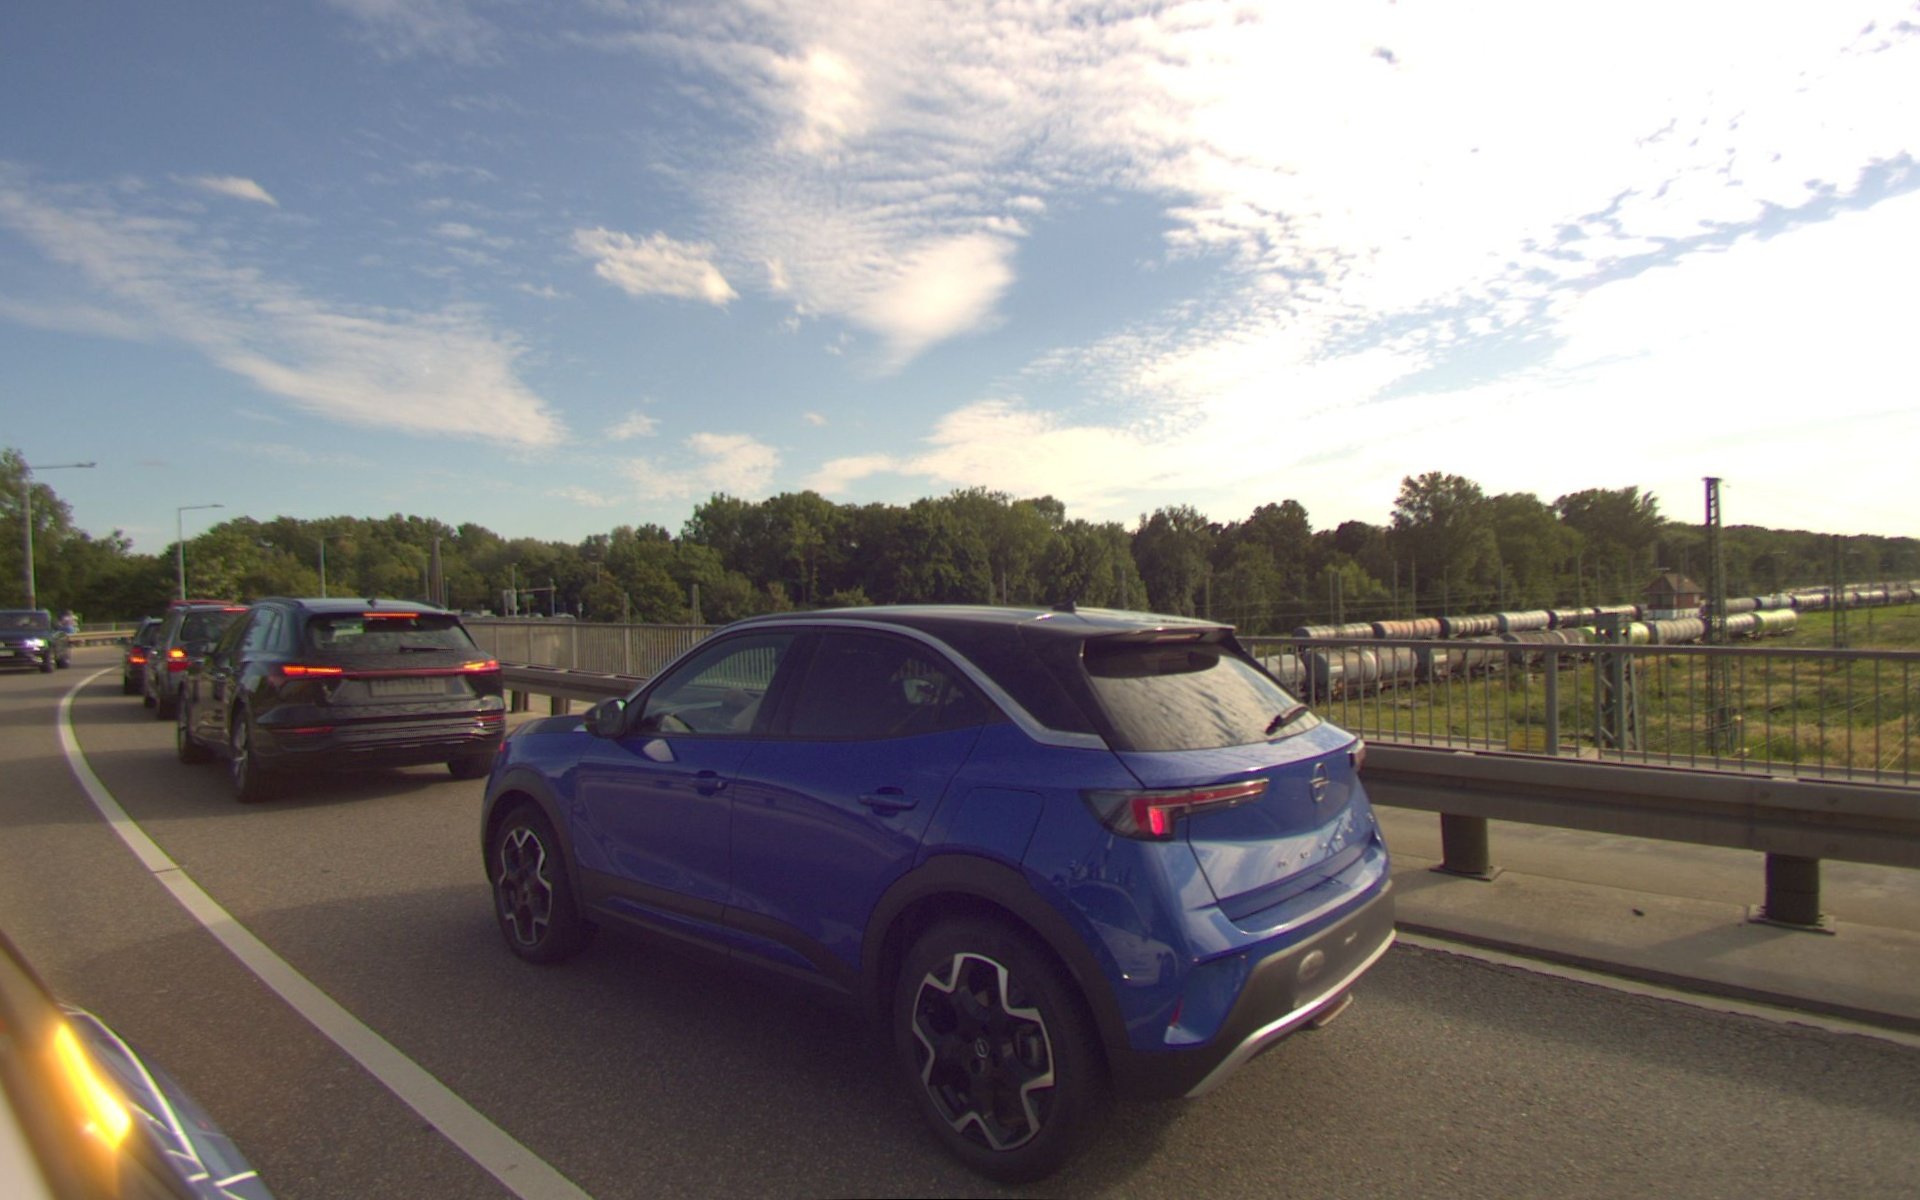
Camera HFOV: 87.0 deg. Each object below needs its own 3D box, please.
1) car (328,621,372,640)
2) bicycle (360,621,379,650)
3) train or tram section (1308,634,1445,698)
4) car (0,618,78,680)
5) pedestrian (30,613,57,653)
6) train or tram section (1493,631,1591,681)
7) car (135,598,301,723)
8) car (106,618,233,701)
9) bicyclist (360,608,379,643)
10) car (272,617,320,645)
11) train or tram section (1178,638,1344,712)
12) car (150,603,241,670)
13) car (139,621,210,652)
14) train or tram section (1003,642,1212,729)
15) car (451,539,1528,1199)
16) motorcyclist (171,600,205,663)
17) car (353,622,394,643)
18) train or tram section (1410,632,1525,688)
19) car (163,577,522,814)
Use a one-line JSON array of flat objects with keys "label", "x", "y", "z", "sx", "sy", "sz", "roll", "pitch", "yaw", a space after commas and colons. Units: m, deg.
[{"label": "car", "x": -49.709, "y": 2.448, "z": 82.600, "sx": 1.790, "sy": 1.518, "sz": 4.402, "roll": 0, "pitch": -1, "yaw": -13}, {"label": "bicycle", "x": -28.347, "y": 1.680, "z": 48.572, "sx": 0.753, "sy": 1.342, "sz": 1.922, "roll": 1, "pitch": -1, "yaw": -30}, {"label": "train or tram section", "x": 35.880, "y": 5.430, "z": 86.555, "sx": 16.479, "sy": 4.748, "sz": 3.103, "roll": 1, "pitch": -1, "yaw": -38}, {"label": "car", "x": -24.873, "y": 1.233, "z": 26.675, "sx": 1.789, "sy": 1.518, "sz": 4.403, "roll": 1, "pitch": -1, "yaw": -33}, {"label": "pedestrian", "x": -38.698, "y": 1.368, "z": 42.737, "sx": 0.667, "sy": 1.674, "sz": 0.868, "roll": 1, "pitch": -1, "yaw": -30}, {"label": "train or tram section", "x": 61.717, "y": 5.762, "z": 107.018, "sx": 16.479, "sy": 4.748, "sz": 3.103, "roll": 1, "pitch": -1, "yaw": -38}, {"label": "car", "x": -11.570, "y": 0.846, "z": 15.670, "sx": 1.661, "sy": 1.662, "sz": 4.304, "roll": 1, "pitch": -2, "yaw": -42}, {"label": "car", "x": -15.872, "y": 1.098, "z": 20.330, "sx": 1.809, "sy": 1.477, "sz": 4.526, "roll": 1, "pitch": -2, "yaw": -39}, {"label": "bicyclist", "x": -28.324, "y": 1.212, "z": 48.536, "sx": 0.755, "sy": 1.673, "sz": 1.123, "roll": 1, "pitch": -1, "yaw": -30}, {"label": "car", "x": -37.663, "y": 1.749, "z": 57.469, "sx": 1.716, "sy": 1.512, "sz": 4.090, "roll": 1, "pitch": -1, "yaw": -25}, {"label": "train or tram section", "x": 23.015, "y": 5.423, "z": 76.346, "sx": 16.479, "sy": 4.748, "sz": 3.103, "roll": 1, "pitch": -1, "yaw": -38}, {"label": "car", "x": -23.831, "y": 1.092, "z": 31.479, "sx": 1.982, "sy": 1.918, "sz": 4.875, "roll": 1, "pitch": -2, "yaw": -40}, {"label": "car", "x": -38.011, "y": 1.751, "z": 49.066, "sx": 1.788, "sy": 1.415, "sz": 4.405, "roll": 1, "pitch": -1, "yaw": -26}, {"label": "train or tram section", "x": 10.028, "y": 5.294, "z": 66.112, "sx": 16.479, "sy": 4.748, "sz": 3.103, "roll": 1, "pitch": -1, "yaw": -38}, {"label": "car", "x": -0.228, "y": 0.686, "z": 3.965, "sx": 4.006, "sy": 1.531, "sz": 1.780, "roll": -1, "pitch": -2, "yaw": 41}, {"label": "motorcyclist", "x": -19.776, "y": 0.798, "z": 25.940, "sx": 0.612, "sy": 1.565, "sz": 0.940, "roll": 1, "pitch": -2, "yaw": -35}, {"label": "car", "x": -42.600, "y": 2.350, "z": 73.583, "sx": 1.735, "sy": 1.501, "sz": 4.459, "roll": 1, "pitch": -1, "yaw": -19}, {"label": "train or tram section", "x": 48.773, "y": 5.535, "z": 96.778, "sx": 16.479, "sy": 4.748, "sz": 3.103, "roll": 1, "pitch": -1, "yaw": -38}, {"label": "car", "x": -5.926, "y": 0.714, "z": 9.425, "sx": 1.903, "sy": 1.662, "sz": 4.592, "roll": 1, "pitch": -2, "yaw": -44}]
